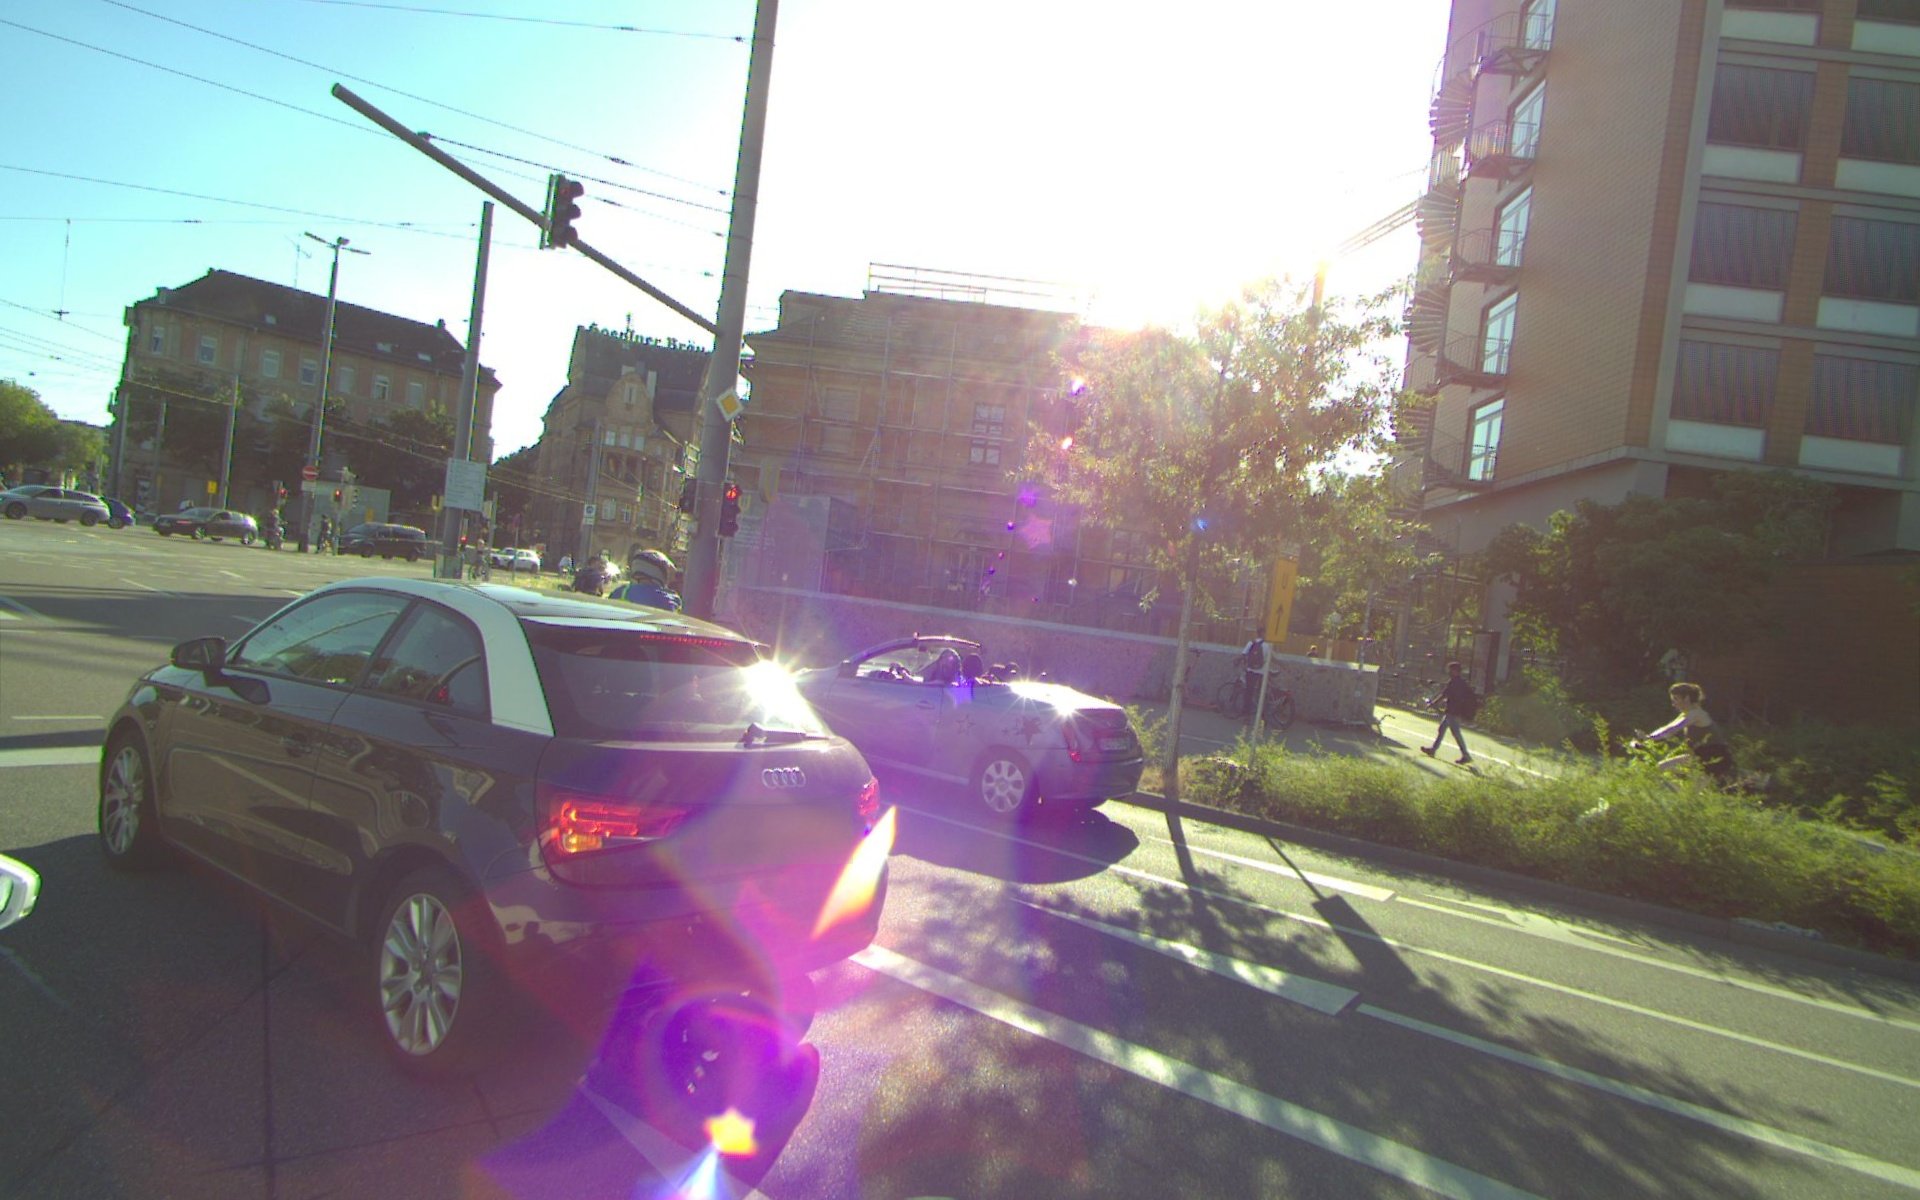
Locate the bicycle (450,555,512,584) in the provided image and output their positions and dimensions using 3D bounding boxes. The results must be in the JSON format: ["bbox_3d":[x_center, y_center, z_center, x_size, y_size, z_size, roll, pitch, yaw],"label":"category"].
[{"bbox_3d":[-19.894,-1.249,41.838,0.844,0.885,2.503,9,0,13],"label":"bicycle"}]

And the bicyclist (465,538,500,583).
[{"bbox_3d":[-19.834,-1.647,41.811,0.844,1.711,0.748,9,1,13],"label":"bicyclist"}]

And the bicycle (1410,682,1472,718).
[{"bbox_3d":[15.195,3.152,31.797,1.623,0.868,0.529,7,1,4],"label":"bicycle"}]

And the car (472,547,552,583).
[{"bbox_3d":[-29.301,-2.257,65.980,1.917,1.821,4.852,7,0,16],"label":"car"}]

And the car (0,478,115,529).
[{"bbox_3d":[-37.674,-3.987,41.025,1.916,1.536,4.561,7,0,13],"label":"car"}]

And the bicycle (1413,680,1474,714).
[{"bbox_3d":[15.731,3.152,32.767,1.623,0.868,0.529,7,1,4],"label":"bicycle"}]

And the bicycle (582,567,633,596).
[{"bbox_3d":[-18.802,-0.969,53.717,2.467,1.147,0.856,9,0,-19],"label":"bicycle"}]

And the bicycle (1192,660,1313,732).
[{"bbox_3d":[5.404,1.753,18.660,1.936,1.052,0.787,6,2,43],"label":"bicycle"}]

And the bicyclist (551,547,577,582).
[{"bbox_3d":[-21.124,-1.904,53.611,0.844,1.711,0.651,9,1,17],"label":"bicyclist"}]

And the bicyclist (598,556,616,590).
[{"bbox_3d":[-18.828,-1.460,53.665,0.642,1.711,0.856,9,1,-19],"label":"bicyclist"}]

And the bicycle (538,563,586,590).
[{"bbox_3d":[-21.212,-1.246,53.680,0.844,1.147,2.502,9,0,17],"label":"bicycle"}]

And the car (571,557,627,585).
[{"bbox_3d":[-27.565,-2.173,76.888,1.915,1.582,4.360,9,0,11],"label":"car"}]

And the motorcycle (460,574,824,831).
[{"bbox_3d":[-2.403,0.667,7.422,2.612,1.394,1.096,7,-1,36],"label":"motorcycle"}]

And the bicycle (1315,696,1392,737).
[{"bbox_3d":[7.712,2.275,19.758,1.332,0.547,0.430,8,2,21],"label":"bicycle"}]

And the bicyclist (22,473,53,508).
[{"bbox_3d":[-56.064,-6.668,61.132,1.114,1.923,1.062,8,1,-38],"label":"bicyclist"}]

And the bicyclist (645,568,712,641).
[{"bbox_3d":[-5.948,0.099,21.266,1.059,1.401,0.720,6,-1,35],"label":"bicyclist"}]

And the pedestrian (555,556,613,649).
[{"bbox_3d":[-7.246,0.043,19.416,0.686,1.693,0.828,6,2,-4],"label":"pedestrian"}]

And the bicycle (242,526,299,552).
[{"bbox_3d":[-30.854,-2.721,45.062,0.845,0.916,2.303,9,0,-1],"label":"bicycle"}]

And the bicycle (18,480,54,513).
[{"bbox_3d":[-56.137,-6.315,61.137,1.130,1.711,3.956,8,1,-38],"label":"bicycle"}]

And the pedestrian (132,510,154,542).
[{"bbox_3d":[-45.320,-4.101,55.788,0.547,1.674,0.641,7,1,-3],"label":"pedestrian"}]

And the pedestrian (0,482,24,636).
[{"bbox_3d":[-10.709,-0.506,10.464,0.686,1.626,1.096,9,1,24],"label":"pedestrian"}]

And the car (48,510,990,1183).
[{"bbox_3d":[-2.067,0.592,4.315,3.915,1.461,1.803,7,-2,35],"label":"car"}]

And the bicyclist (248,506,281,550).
[{"bbox_3d":[-30.775,-3.164,44.504,0.851,1.800,0.584,7,1,0],"label":"bicyclist"}]

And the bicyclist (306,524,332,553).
[{"bbox_3d":[-29.688,-2.836,46.616,0.853,1.191,0.707,9,1,-36],"label":"bicyclist"}]

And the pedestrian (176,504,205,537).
[{"bbox_3d":[-42.621,-4.398,55.712,0.770,1.697,0.924,7,1,34],"label":"pedestrian"}]

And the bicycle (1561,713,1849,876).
[{"bbox_3d":[7.746,1.979,10.633,2.254,1.172,0.777,7,3,33],"label":"bicycle"}]

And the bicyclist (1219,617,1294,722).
[{"bbox_3d":[5.483,1.278,18.606,0.882,1.808,0.785,7,0,43],"label":"bicyclist"}]

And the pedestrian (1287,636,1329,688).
[{"bbox_3d":[14.848,2.664,42.931,1.291,2.039,0.983,7,1,-44],"label":"pedestrian"}]

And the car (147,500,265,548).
[{"bbox_3d":[-33.047,-3.295,44.240,1.917,1.504,4.102,7,0,1],"label":"car"}]

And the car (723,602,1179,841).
[{"bbox_3d":[-0.175,1.034,9.614,3.916,1.461,1.802,7,-2,36],"label":"car"}]

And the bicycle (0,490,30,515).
[{"bbox_3d":[-46.892,-4.844,48.906,0.844,0.991,2.305,9,0,12],"label":"bicycle"}]

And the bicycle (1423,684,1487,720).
[{"bbox_3d":[15.323,3.148,31.162,1.623,0.868,0.529,7,1,4],"label":"bicycle"}]

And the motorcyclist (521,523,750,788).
[{"bbox_3d":[-2.380,0.401,7.431,0.922,1.741,1.096,7,-1,36],"label":"motorcyclist"}]

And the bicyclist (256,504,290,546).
[{"bbox_3d":[-30.757,-3.365,45.054,0.845,1.711,0.651,9,1,-1],"label":"bicyclist"}]

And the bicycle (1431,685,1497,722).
[{"bbox_3d":[15.320,3.143,30.580,1.623,0.868,0.529,7,1,4],"label":"bicycle"}]

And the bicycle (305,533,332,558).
[{"bbox_3d":[-29.715,-2.522,46.600,0.853,0.916,2.280,9,0,-35],"label":"bicycle"}]

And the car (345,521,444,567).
[{"bbox_3d":[-31.056,-3.015,55.411,1.916,1.916,4.853,7,0,11],"label":"car"}]

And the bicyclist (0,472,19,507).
[{"bbox_3d":[-46.777,-5.445,48.989,0.844,1.578,0.927,9,1,12],"label":"bicyclist"}]

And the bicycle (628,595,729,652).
[{"bbox_3d":[-5.954,0.482,21.231,2.214,0.963,0.720,5,-2,35],"label":"bicycle"}]

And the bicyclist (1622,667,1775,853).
[{"bbox_3d":[7.749,1.640,10.630,1.075,1.700,0.777,7,3,33],"label":"bicyclist"}]

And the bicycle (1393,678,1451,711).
[{"bbox_3d":[15.672,3.200,34.146,1.623,0.868,0.529,7,1,4],"label":"bicycle"}]

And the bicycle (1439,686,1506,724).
[{"bbox_3d":[15.284,3.121,30.019,1.623,0.868,0.529,7,1,4],"label":"bicycle"}]

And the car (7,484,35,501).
[{"bbox_3d":[-112.644,-12.864,120.702,1.793,1.675,3.877,9,0,-36],"label":"car"}]

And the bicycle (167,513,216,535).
[{"bbox_3d":[-44.762,-4.408,58.617,0.844,0.971,2.304,9,0,6],"label":"bicycle"}]

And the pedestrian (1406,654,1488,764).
[{"bbox_3d":[8.159,1.816,16.854,0.803,1.677,0.781,9,-2,-39],"label":"pedestrian"}]

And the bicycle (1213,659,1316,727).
[{"bbox_3d":[5.880,1.782,19.540,0.621,1.052,1.948,4,1,-30],"label":"bicycle"}]

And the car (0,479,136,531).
[{"bbox_3d":[-40.995,-4.341,46.366,4.583,1.613,1.932,8,0,-40],"label":"car"}]

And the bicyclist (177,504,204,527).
[{"bbox_3d":[-44.712,-4.895,58.462,0.822,1.157,0.715,10,1,6],"label":"bicyclist"}]

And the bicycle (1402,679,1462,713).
[{"bbox_3d":[15.702,3.187,33.485,1.623,0.868,0.529,7,1,4],"label":"bicycle"}]
